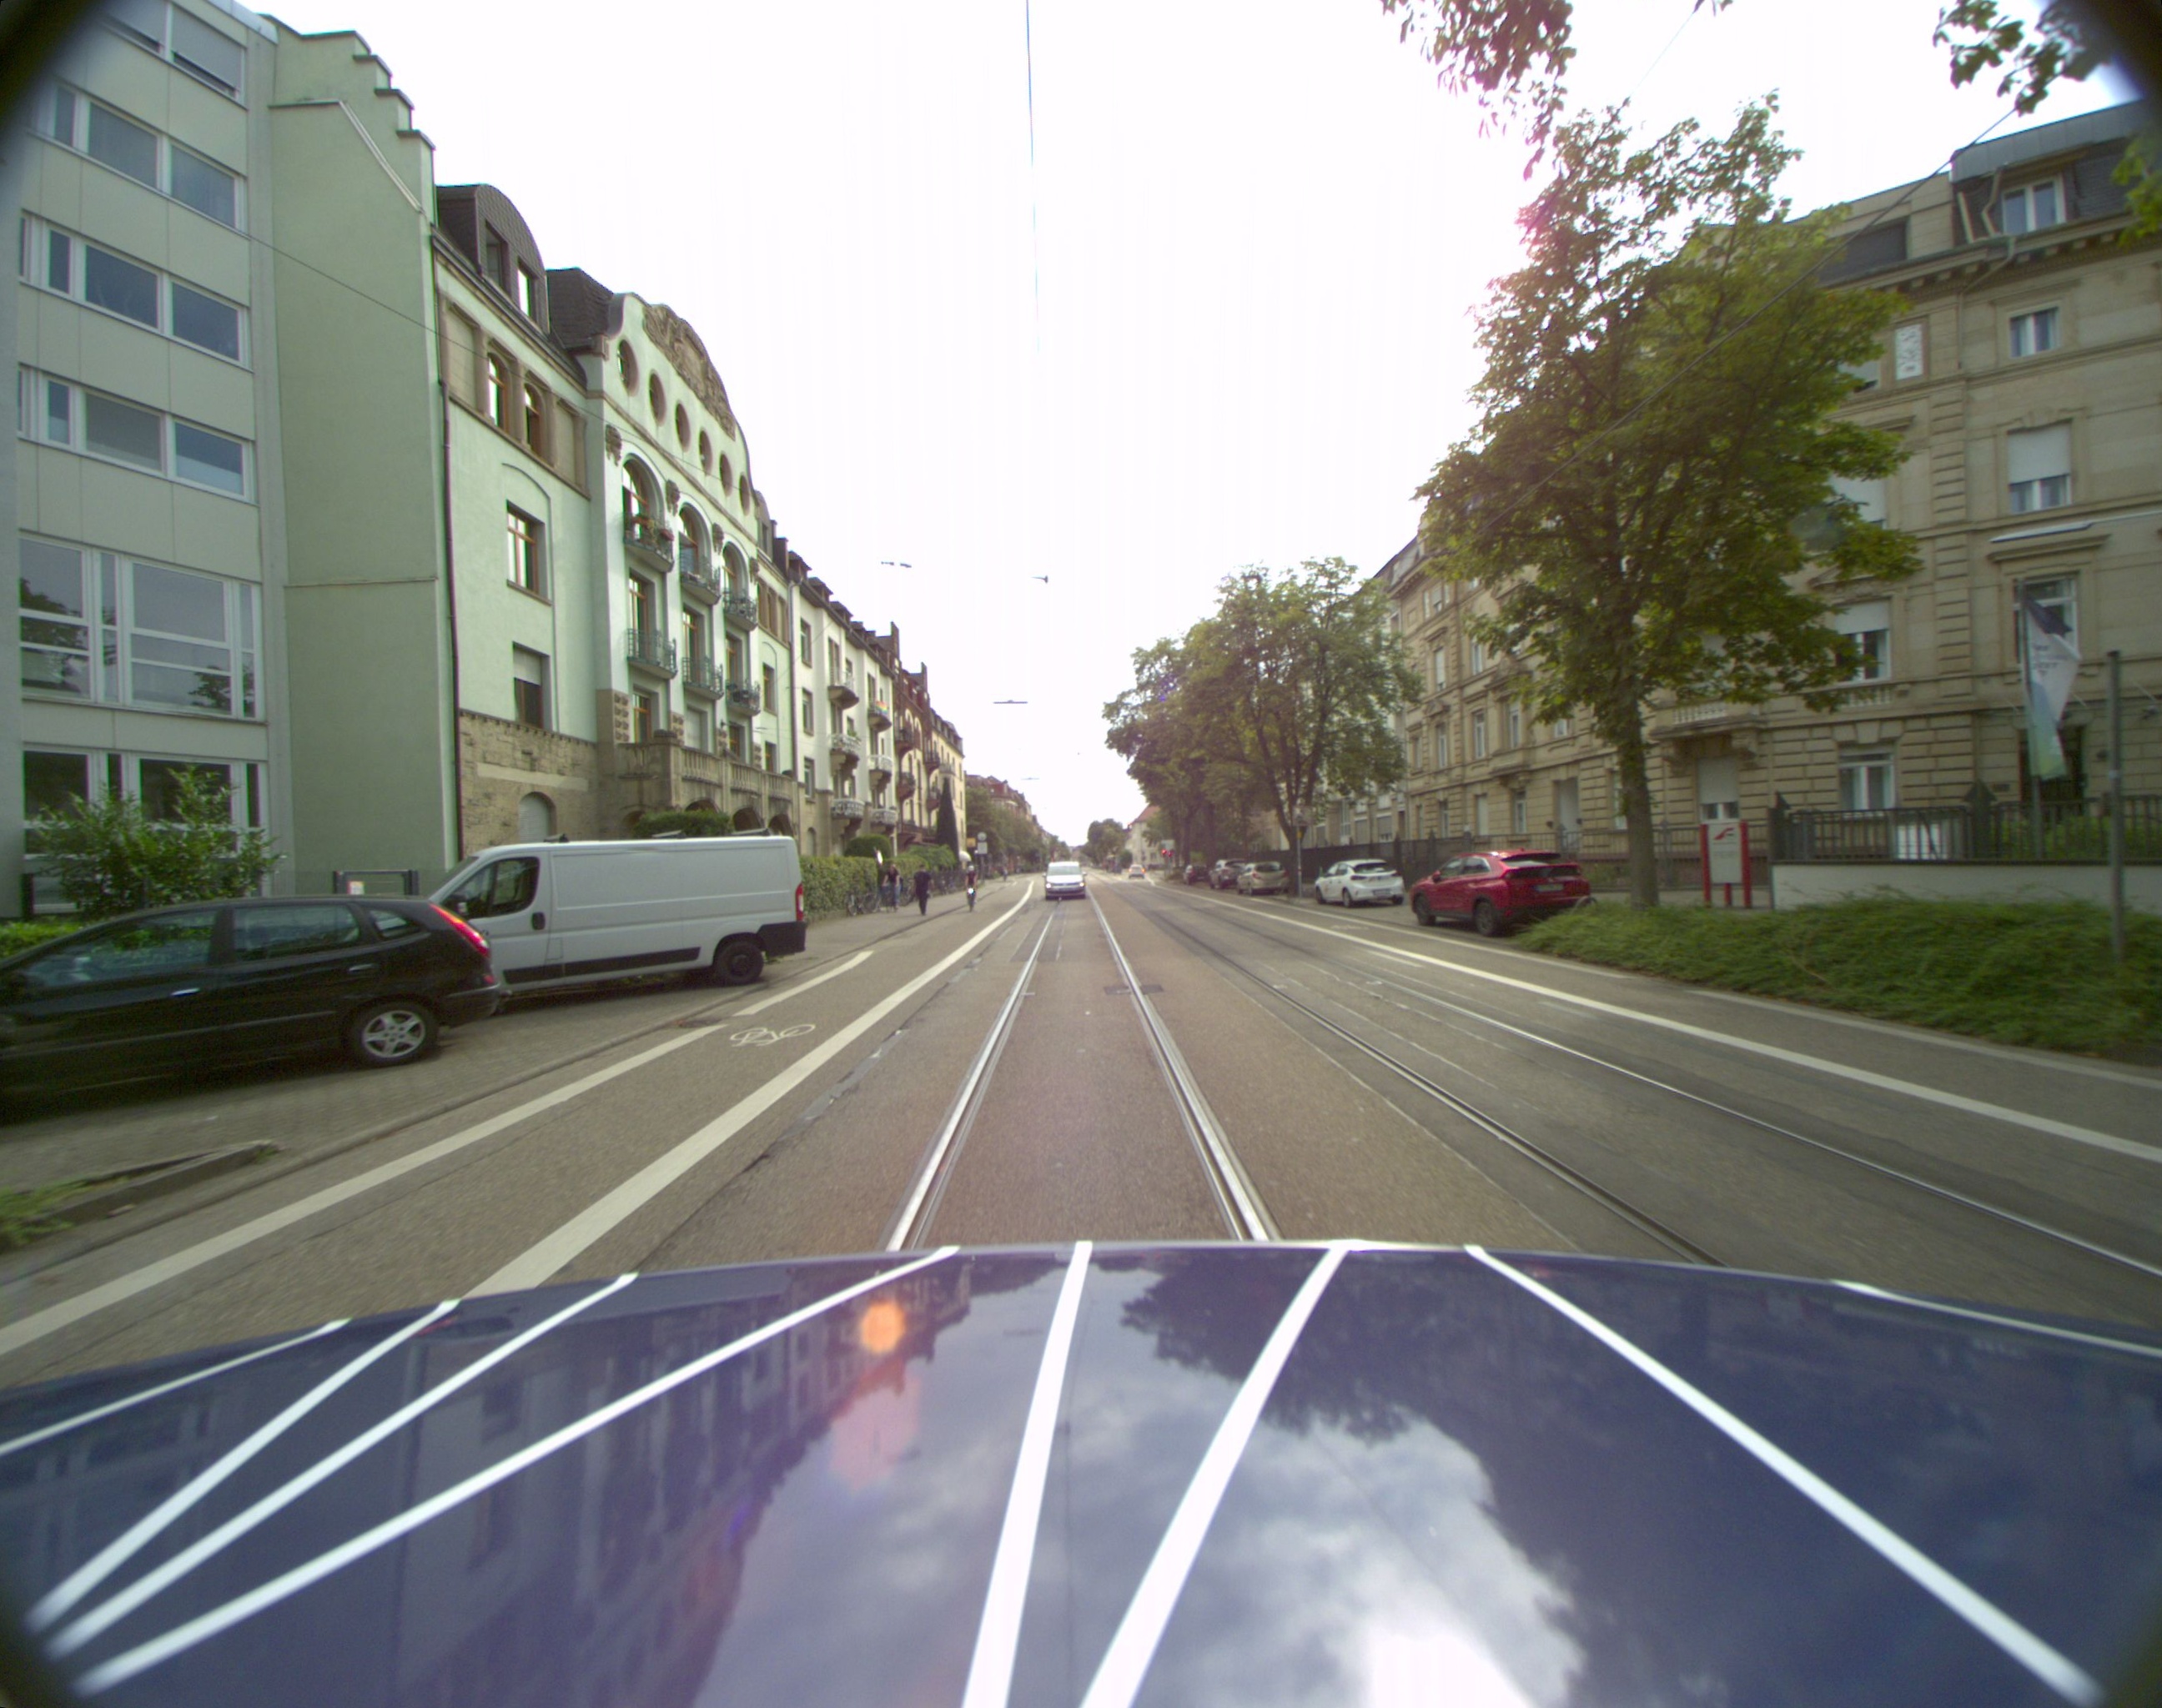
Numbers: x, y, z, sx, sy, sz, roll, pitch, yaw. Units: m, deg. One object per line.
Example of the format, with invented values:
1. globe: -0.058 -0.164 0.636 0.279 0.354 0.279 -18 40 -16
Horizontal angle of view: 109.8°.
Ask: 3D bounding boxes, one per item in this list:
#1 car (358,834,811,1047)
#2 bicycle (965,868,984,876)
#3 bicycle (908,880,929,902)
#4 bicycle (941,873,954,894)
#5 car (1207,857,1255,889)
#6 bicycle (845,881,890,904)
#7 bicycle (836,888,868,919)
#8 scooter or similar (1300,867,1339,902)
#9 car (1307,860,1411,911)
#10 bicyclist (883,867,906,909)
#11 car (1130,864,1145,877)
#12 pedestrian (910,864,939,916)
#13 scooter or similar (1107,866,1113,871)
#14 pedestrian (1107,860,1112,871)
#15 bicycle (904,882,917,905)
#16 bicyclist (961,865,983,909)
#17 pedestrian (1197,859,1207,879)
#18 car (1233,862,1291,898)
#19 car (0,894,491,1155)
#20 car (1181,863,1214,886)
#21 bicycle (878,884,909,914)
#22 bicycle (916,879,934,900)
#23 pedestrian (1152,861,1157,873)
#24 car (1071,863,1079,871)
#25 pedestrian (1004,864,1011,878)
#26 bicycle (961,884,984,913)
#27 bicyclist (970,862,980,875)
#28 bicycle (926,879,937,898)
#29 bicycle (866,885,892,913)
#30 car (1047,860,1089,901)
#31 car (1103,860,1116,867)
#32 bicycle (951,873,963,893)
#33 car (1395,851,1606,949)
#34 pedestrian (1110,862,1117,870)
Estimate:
1. car: -6.832 0.939 10.864 4.968 2.276 2.378 -3 0 -43
2. bicycle: -14.802 2.492 105.171 0.888 1.039 3.089 -2 -1 -44
3. bicycle: -7.226 1.624 33.880 0.487 0.902 1.665 -1 0 3
4. bicycle: -7.325 1.612 41.694 0.392 1.135 1.921 -1 -1 0
5. car: 8.289 1.029 42.437 1.715 1.663 4.357 -2 -1 -1
6. bicycle: -8.666 1.575 30.840 1.663 0.902 0.487 -1 1 8
7. bicycle: -7.383 1.583 24.546 0.387 0.902 1.665 -1 0 4
8. scooter or similar: 8.672 1.091 27.680 0.563 1.215 1.321 -2 0 -24
9. car: 8.847 0.949 24.580 1.726 1.415 4.023 -4 0 -1
10. bicyclist: -6.650 1.211 27.100 0.649 1.461 0.800 0 0 -3
11. car: 6.077 1.799 82.244 1.574 1.407 4.001 0 -1 3
12. pedestrian: -5.288 1.195 25.722 0.787 1.722 0.896 0 0 -1
13. scooter or similar: 4.409 2.258 116.805 0.669 0.708 0.605 -2 -2 32
14. pedestrian: 4.403 1.810 117.564 0.684 1.680 0.815 -2 -1 0
15. bicycle: -7.174 1.649 31.968 0.487 0.902 1.663 -1 0 -11
16. bicyclist: -4.026 1.209 28.130 0.640 1.561 1.110 -1 0 -3
17. pedestrian: 10.739 1.296 67.414 0.707 1.725 0.701 -3 0 -5
18. car: 8.218 1.152 34.853 1.605 1.459 4.079 -2 -1 -1
19. car: -7.676 1.298 6.455 1.685 1.639 3.968 -2 0 45
20. car: 8.298 1.441 54.549 1.724 1.416 4.166 -4 0 1
21. bicycle: -6.647 1.578 26.997 0.690 0.956 2.036 0 -1 -3
22. bicycle: -7.330 1.651 35.665 0.487 0.902 1.665 -1 0 0
23. pedestrian: 10.283 1.871 106.335 0.654 1.680 0.711 -2 0 -4
24. car: -1.522 3.549 211.294 1.998 2.001 4.001 -3 0 1
25. pedestrian: -8.822 2.039 91.432 0.721 1.650 0.759 2 0 -4
26. bicycle: -4.013 1.621 28.144 0.640 0.975 2.071 -1 0 -3
27. bicyclist: -14.646 2.005 105.006 0.841 1.679 1.243 -1 -1 -44
28. bicycle: -7.373 1.697 37.477 0.278 0.847 1.198 -1 0 0
29. bicycle: -7.315 1.610 27.536 0.387 0.902 1.665 -1 0 4
30. car: -0.545 1.173 35.357 1.767 1.660 4.330 -3 0 0
31. car: 8.775 2.929 234.401 3.996 1.716 1.877 -3 0 2
32. bicycle: -7.233 1.683 44.409 0.392 1.096 1.759 -1 -1 0
33. car: 8.494 0.849 15.949 1.726 1.645 4.542 -4 0 -1
34. pedestrian: 5.435 1.997 125.714 1.033 1.229 0.723 -3 0 -2
